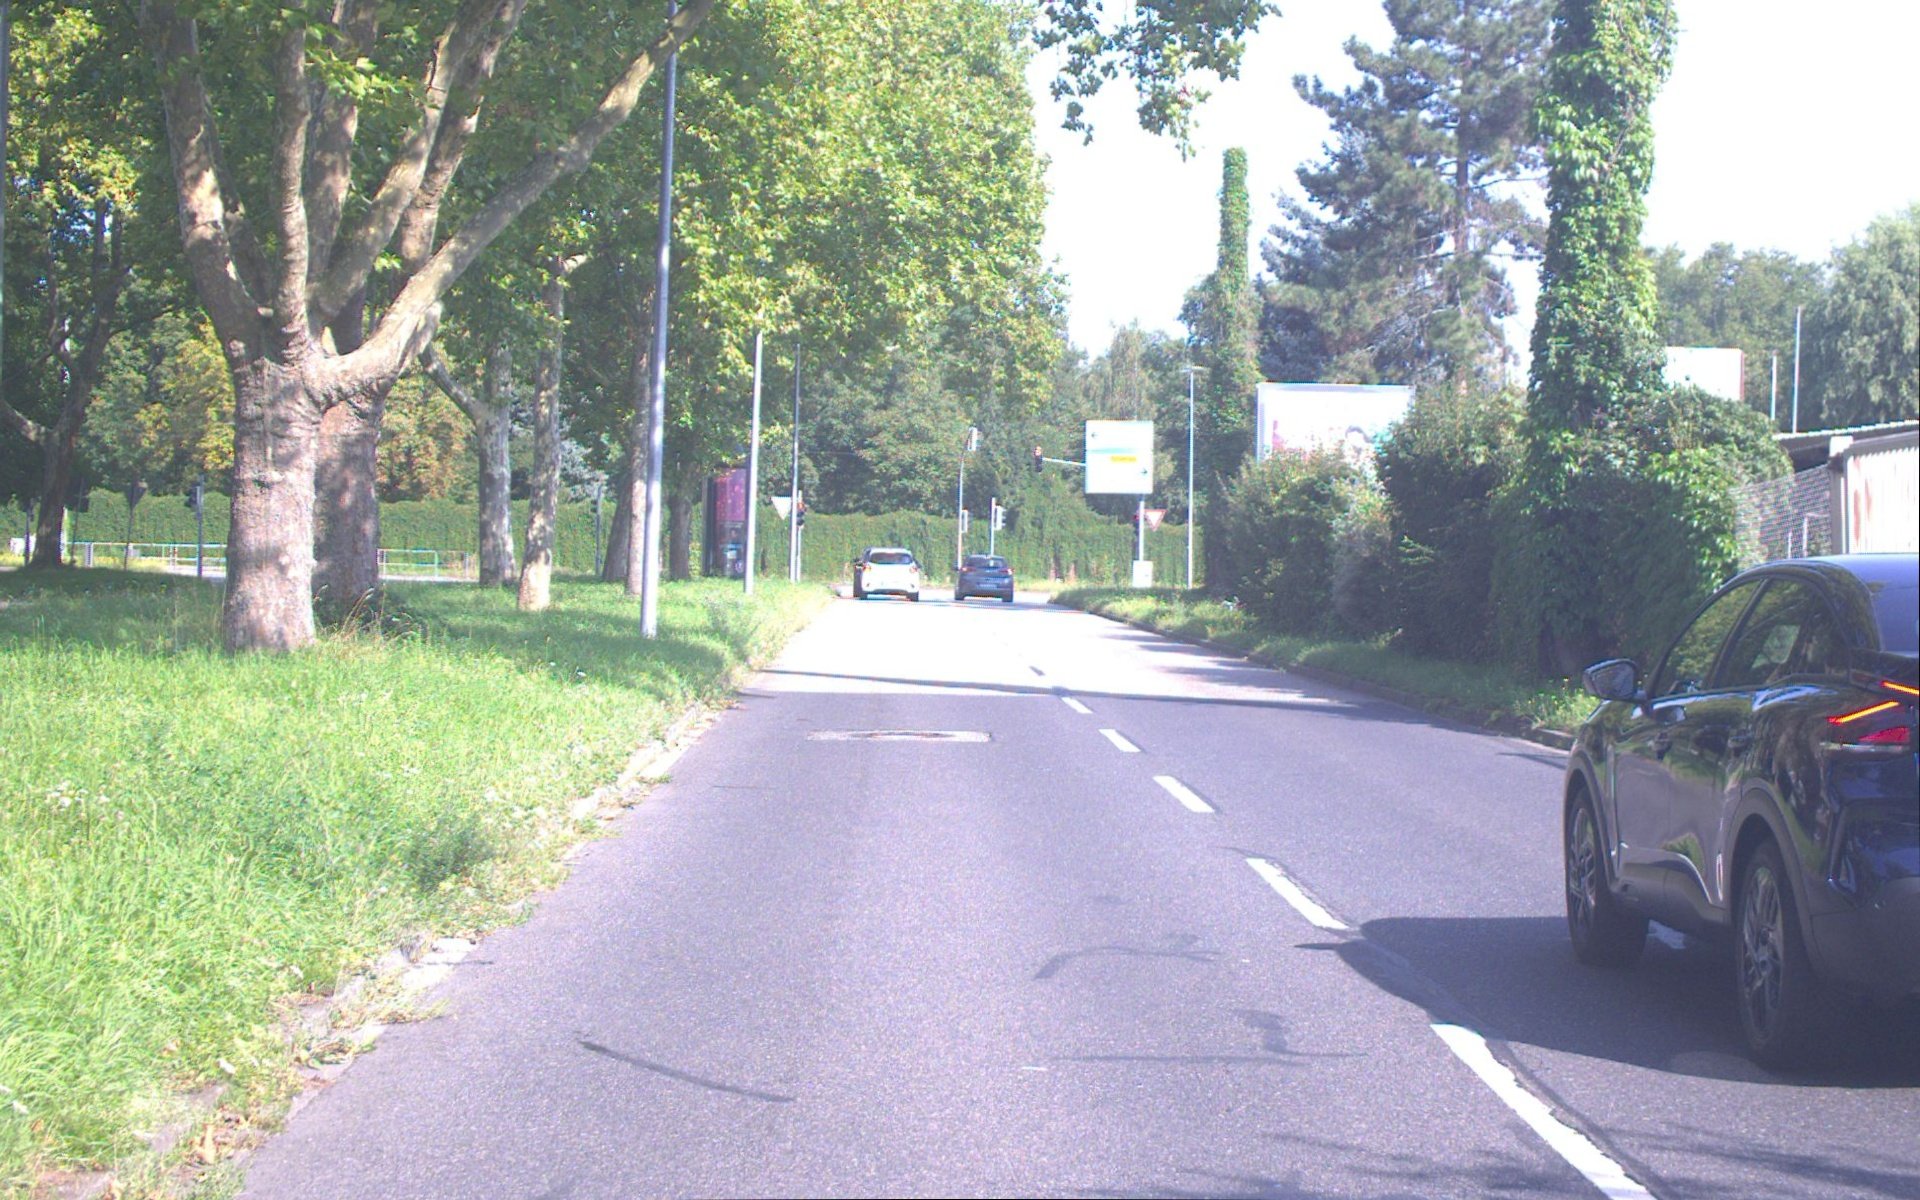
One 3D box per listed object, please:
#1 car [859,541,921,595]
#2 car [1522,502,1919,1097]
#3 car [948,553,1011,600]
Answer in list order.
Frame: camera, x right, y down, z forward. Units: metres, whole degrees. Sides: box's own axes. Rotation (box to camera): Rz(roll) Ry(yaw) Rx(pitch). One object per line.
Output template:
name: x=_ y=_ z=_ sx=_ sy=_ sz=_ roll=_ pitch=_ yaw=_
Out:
car: x=-2.022 y=-0.936 z=99.815 sx=1.687 sy=1.457 sz=4.000 roll=2 pitch=1 yaw=0
car: x=3.086 y=0.519 z=11.309 sx=1.645 sy=1.583 sz=4.255 roll=1 pitch=1 yaw=-2
car: x=0.601 y=-0.762 z=108.605 sx=1.797 sy=1.396 sz=4.000 roll=2 pitch=1 yaw=-2
